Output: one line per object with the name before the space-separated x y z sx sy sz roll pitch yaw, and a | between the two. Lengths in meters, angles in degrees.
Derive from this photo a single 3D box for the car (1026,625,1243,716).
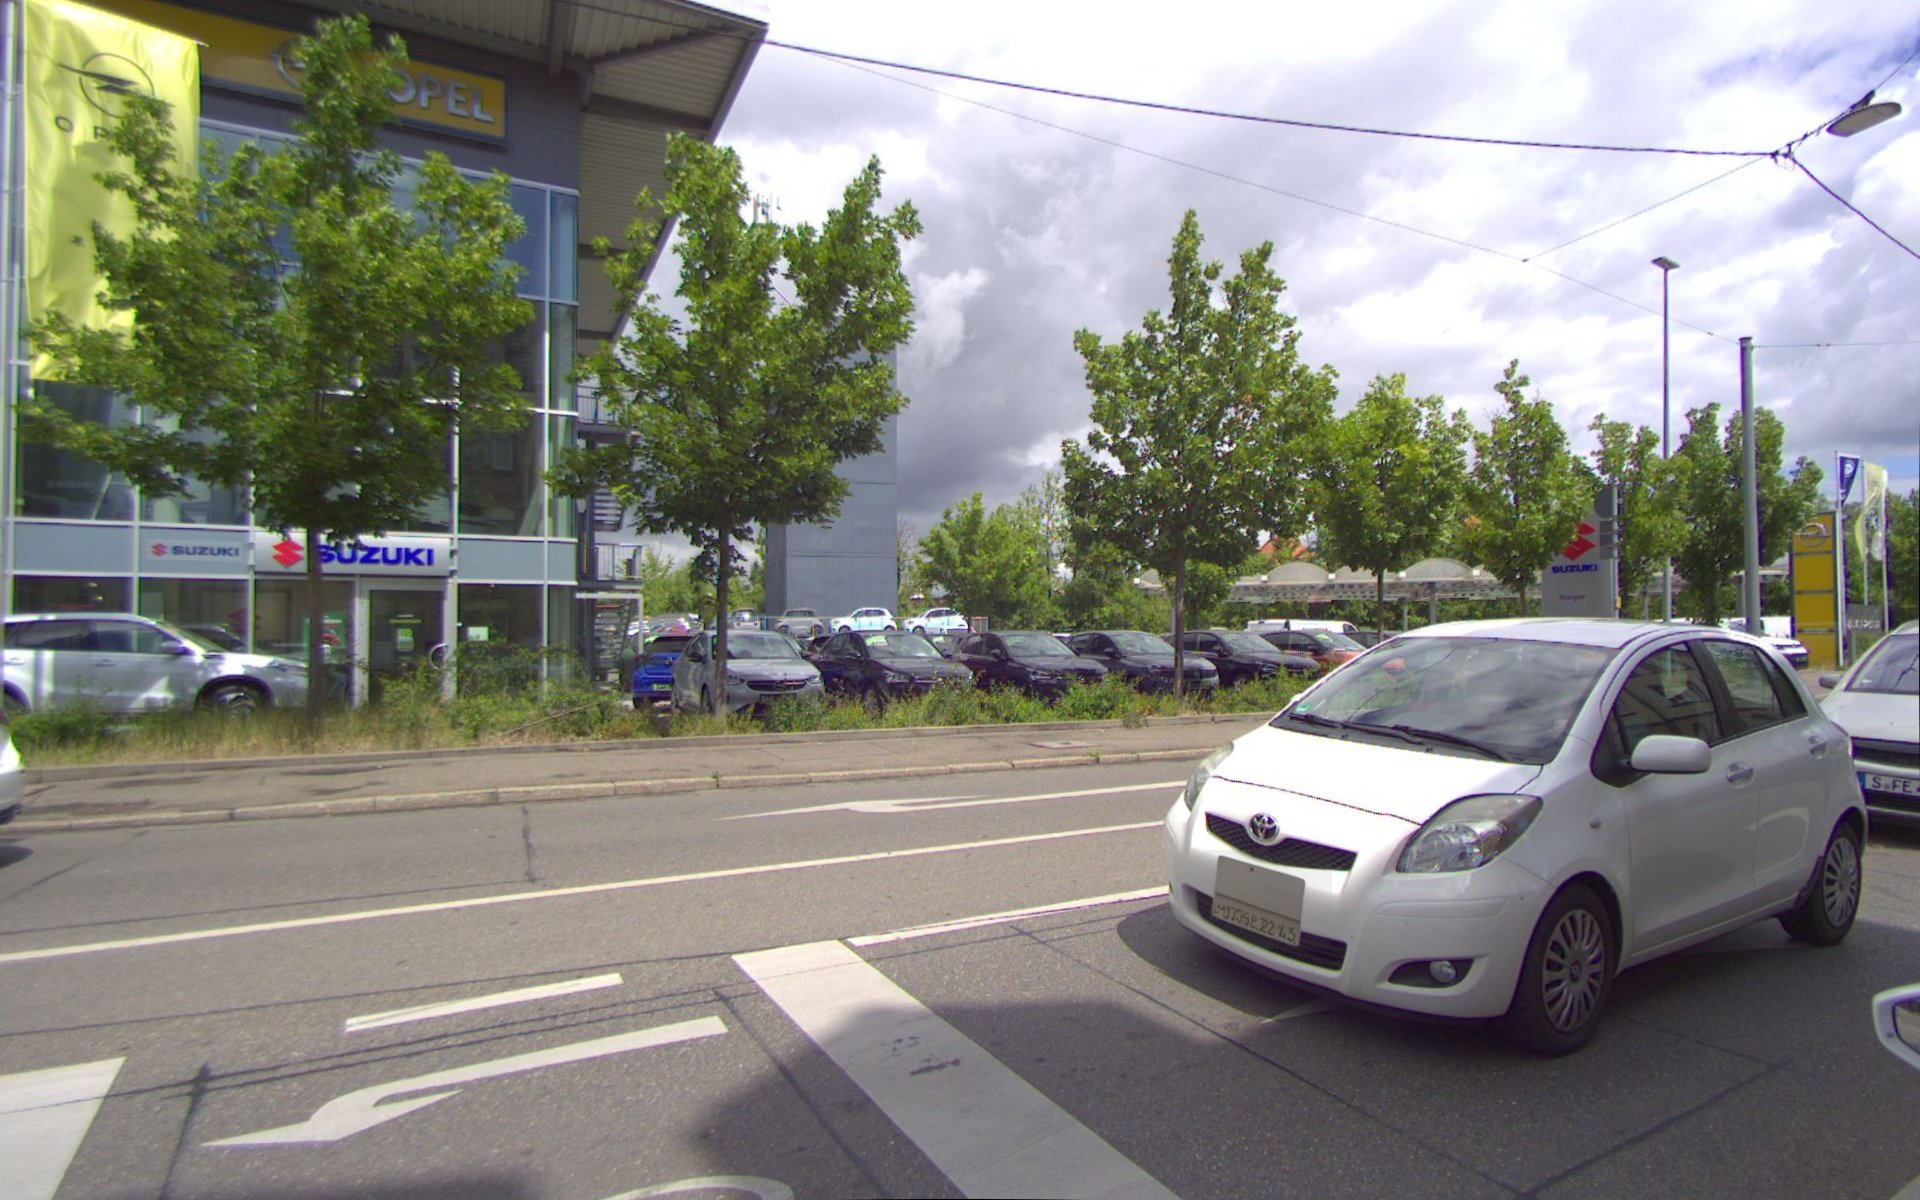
car | 3.186 1.282 19.105 1.793 1.517 4.032 0 -2 -33

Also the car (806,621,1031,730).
car | -0.823 1.158 16.399 1.793 1.517 4.183 0 -2 -33

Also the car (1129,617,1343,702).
car | 5.447 1.171 20.269 1.793 1.517 3.959 0 -2 -33

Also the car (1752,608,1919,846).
car | 8.297 0.927 8.011 4.269 1.602 1.710 2 -1 -31

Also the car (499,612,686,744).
car | -5.185 0.993 13.842 1.791 1.517 3.969 0 -2 -30

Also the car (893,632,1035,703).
car | 0.020 1.436 21.938 1.502 1.391 3.296 0 -2 -34

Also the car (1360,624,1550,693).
car | 12.089 1.413 24.727 1.795 1.517 3.787 0 -2 -36

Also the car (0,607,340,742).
car | -10.784 0.943 13.496 3.943 1.583 1.936 2 -1 -26

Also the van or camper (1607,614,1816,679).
van or camper | 22.531 1.379 30.339 1.976 1.773 4.648 0 -2 -29

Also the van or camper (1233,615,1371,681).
van or camper | 11.446 1.560 33.530 4.637 2.040 1.981 0 -2 -35

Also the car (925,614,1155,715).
car | 1.256 1.078 17.608 1.793 1.517 4.255 0 -2 -33

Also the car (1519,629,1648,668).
car | 24.137 1.867 39.029 3.921 1.486 1.819 -1 -2 18

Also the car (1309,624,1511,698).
car | 10.151 1.351 22.887 1.794 1.517 3.825 0 -2 -34

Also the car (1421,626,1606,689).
car | 14.286 1.470 26.090 1.755 1.480 3.808 0 -2 -35

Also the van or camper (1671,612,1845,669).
van or camper | 29.360 1.453 37.056 4.862 1.989 1.990 0 -1 -2

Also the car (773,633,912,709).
car | -2.466 1.399 20.516 1.502 1.391 3.296 0 -2 -34

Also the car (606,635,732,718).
car | -5.528 1.387 18.913 1.501 1.391 2.994 0 -2 -32

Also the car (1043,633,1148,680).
car | 4.242 1.785 31.911 1.502 1.391 3.296 0 -2 -34

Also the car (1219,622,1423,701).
car | 7.623 1.277 21.547 1.793 1.517 3.805 0 -2 -33

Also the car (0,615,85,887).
car | -7.392 0.783 4.826 4.397 1.516 1.717 2 -4 -21

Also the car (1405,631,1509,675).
car | 15.894 1.672 32.098 3.440 1.270 1.530 0 -2 -35

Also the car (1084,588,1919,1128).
car | 2.688 0.819 4.741 3.954 1.602 1.710 2 -1 -31

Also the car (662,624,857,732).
car | -3.244 1.137 15.609 1.791 1.412 4.049 0 -2 -30
